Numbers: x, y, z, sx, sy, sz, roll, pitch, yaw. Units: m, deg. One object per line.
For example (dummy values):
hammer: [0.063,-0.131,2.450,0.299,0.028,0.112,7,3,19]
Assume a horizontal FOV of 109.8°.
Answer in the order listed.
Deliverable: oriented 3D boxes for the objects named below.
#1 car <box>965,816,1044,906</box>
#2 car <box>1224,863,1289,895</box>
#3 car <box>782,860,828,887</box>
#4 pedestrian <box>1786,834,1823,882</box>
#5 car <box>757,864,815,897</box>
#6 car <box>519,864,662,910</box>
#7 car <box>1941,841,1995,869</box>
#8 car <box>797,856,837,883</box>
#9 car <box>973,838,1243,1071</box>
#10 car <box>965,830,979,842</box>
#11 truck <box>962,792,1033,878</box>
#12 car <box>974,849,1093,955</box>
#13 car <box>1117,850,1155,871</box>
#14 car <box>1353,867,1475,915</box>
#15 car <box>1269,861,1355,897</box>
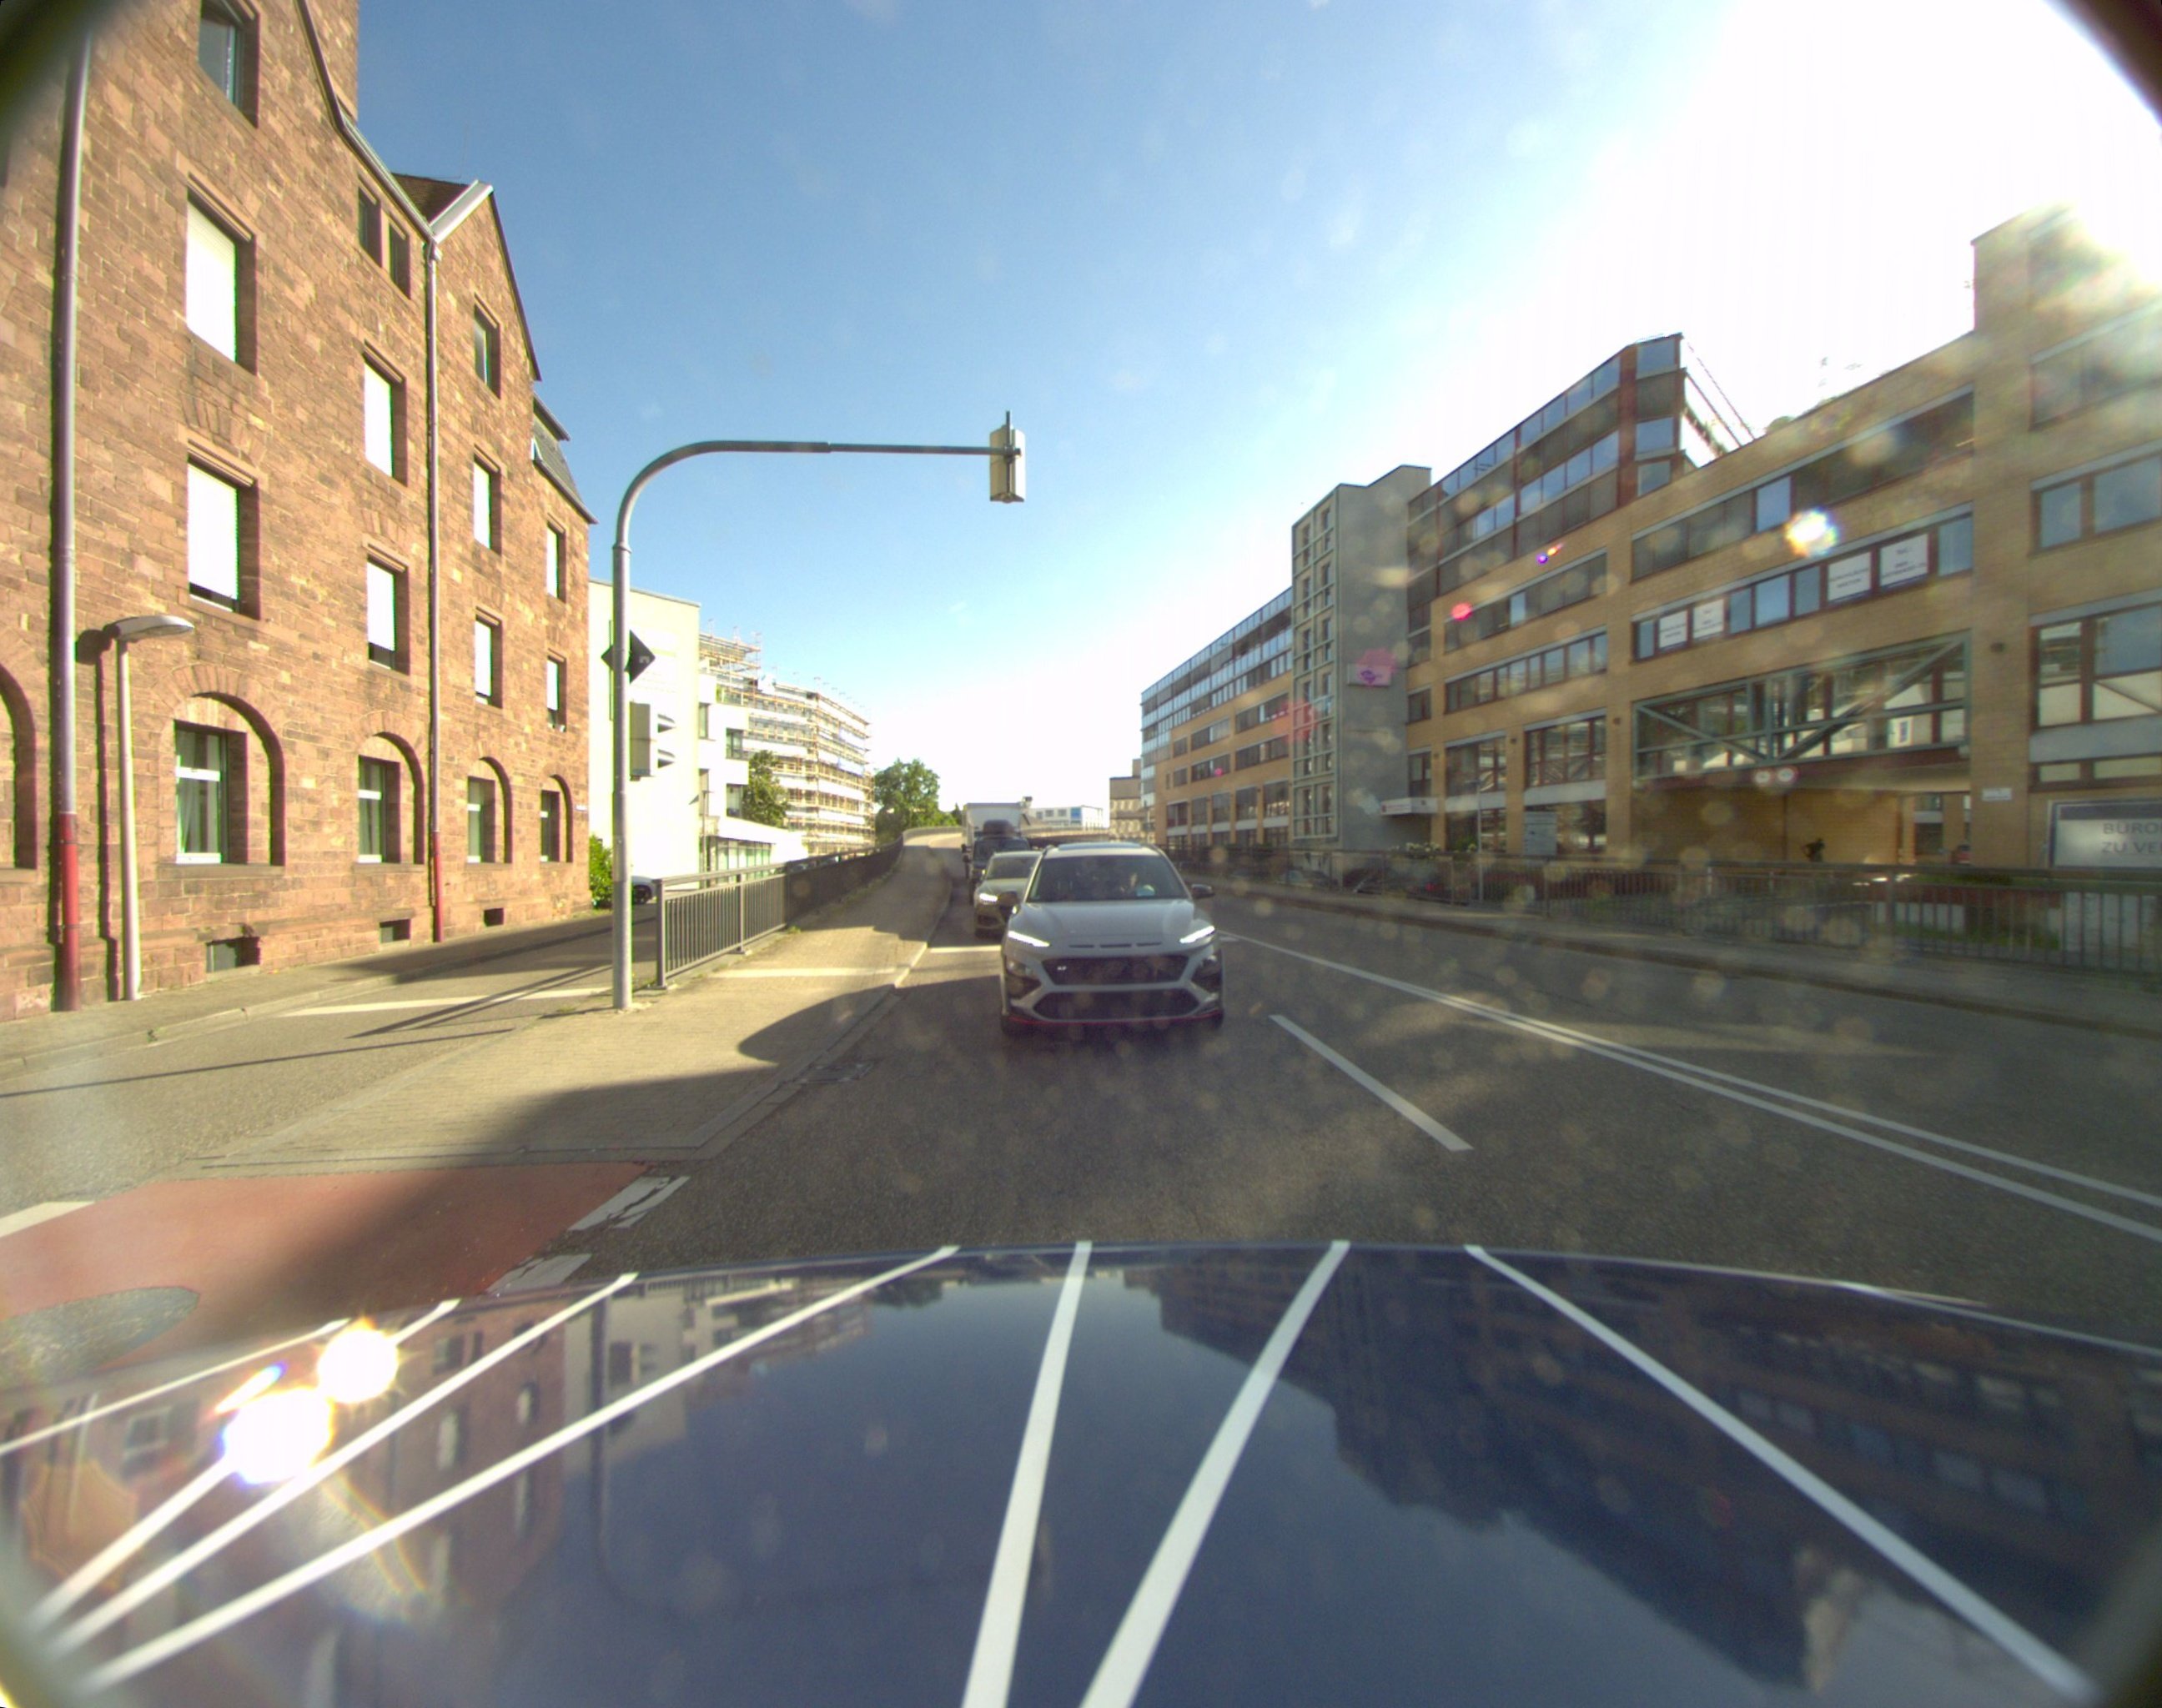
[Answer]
car: [-2.228,0.180,21.486,1.951,2.248,4.782,0,0,-8]
car: [9.082,1.275,39.637,1.886,1.554,3.996,0,0,-11]
car: [-16.249,1.121,44.878,2.055,1.522,4.088,-1,0,-14]
pedestrian: [28.127,0.155,29.562,0.747,1.840,0.704,-2,1,-7]
car: [-14.561,1.268,37.730,2.055,1.522,4.088,-1,0,-13]
car: [-18.027,1.162,28.036,1.914,1.522,4.101,-1,0,44]
car: [52.566,0.036,45.103,1.763,1.512,4.007,-1,2,45]
car: [-17.368,0.991,50.200,2.055,1.676,4.088,-1,0,-14]
car: [0.262,0.695,7.385,1.878,1.612,4.197,0,0,2]
car: [-17.292,-2.834,120.704,1.757,1.749,4.784,0,0,-2]
truck: [-3.561,-0.673,31.125,2.504,3.110,6.954,0,0,-9]
car: [-1.050,0.740,14.246,1.880,1.463,4.630,0,3,-8]
car: [4.269,0.508,59.663,2.000,1.499,3.996,-2,1,-10]
car: [11.541,1.230,26.673,1.640,1.514,4.155,0,0,-16]
car: [10.353,1.075,34.362,1.881,1.514,4.156,0,0,-13]
